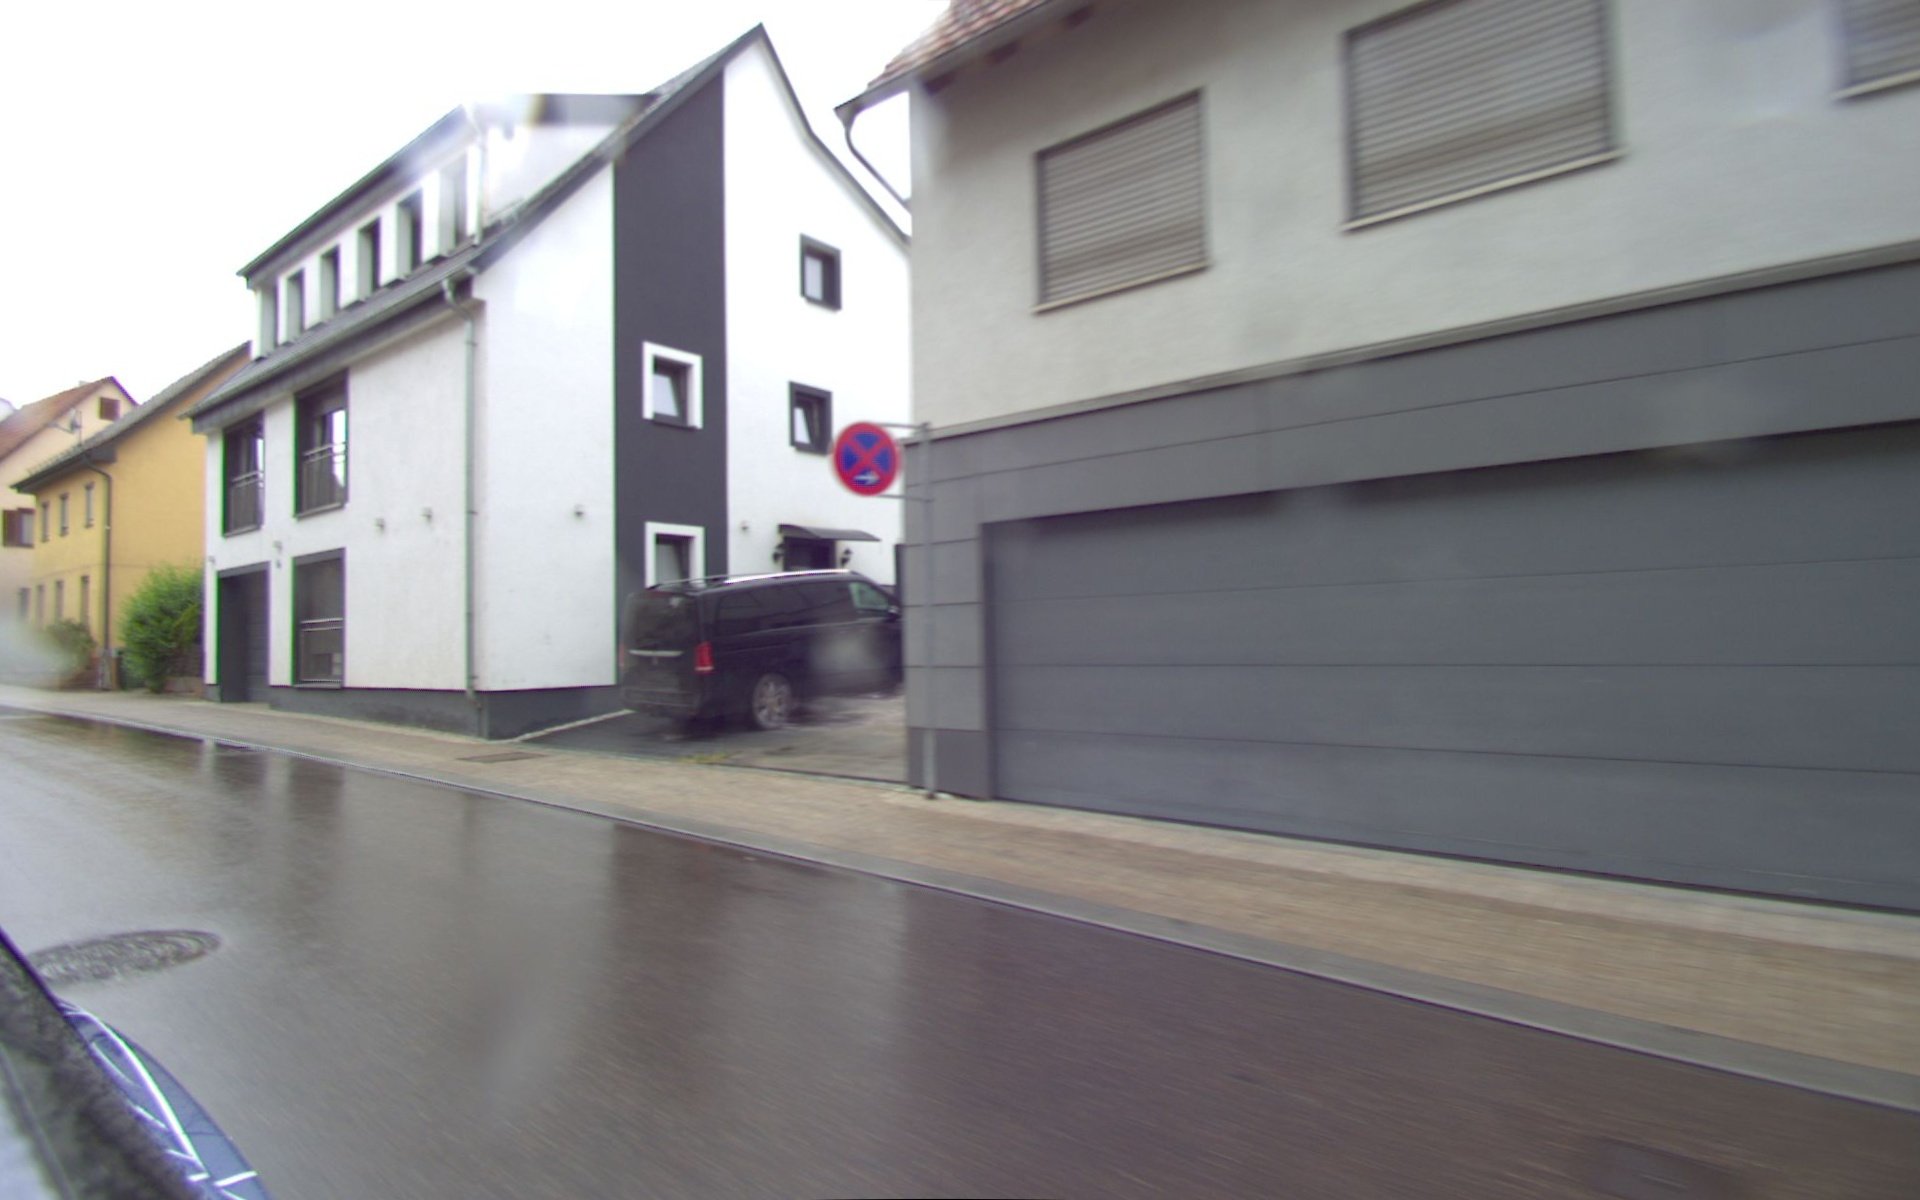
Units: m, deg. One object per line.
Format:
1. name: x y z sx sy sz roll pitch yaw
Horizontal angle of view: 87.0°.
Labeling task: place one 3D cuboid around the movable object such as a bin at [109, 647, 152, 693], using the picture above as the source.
1. movable object such as a bin: -21.014 1.770 25.628 0.720 1.117 0.651 -1 -5 40

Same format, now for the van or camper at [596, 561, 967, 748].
1. van or camper: -2.258 0.565 14.207 1.998 1.947 4.977 -1 4 38
